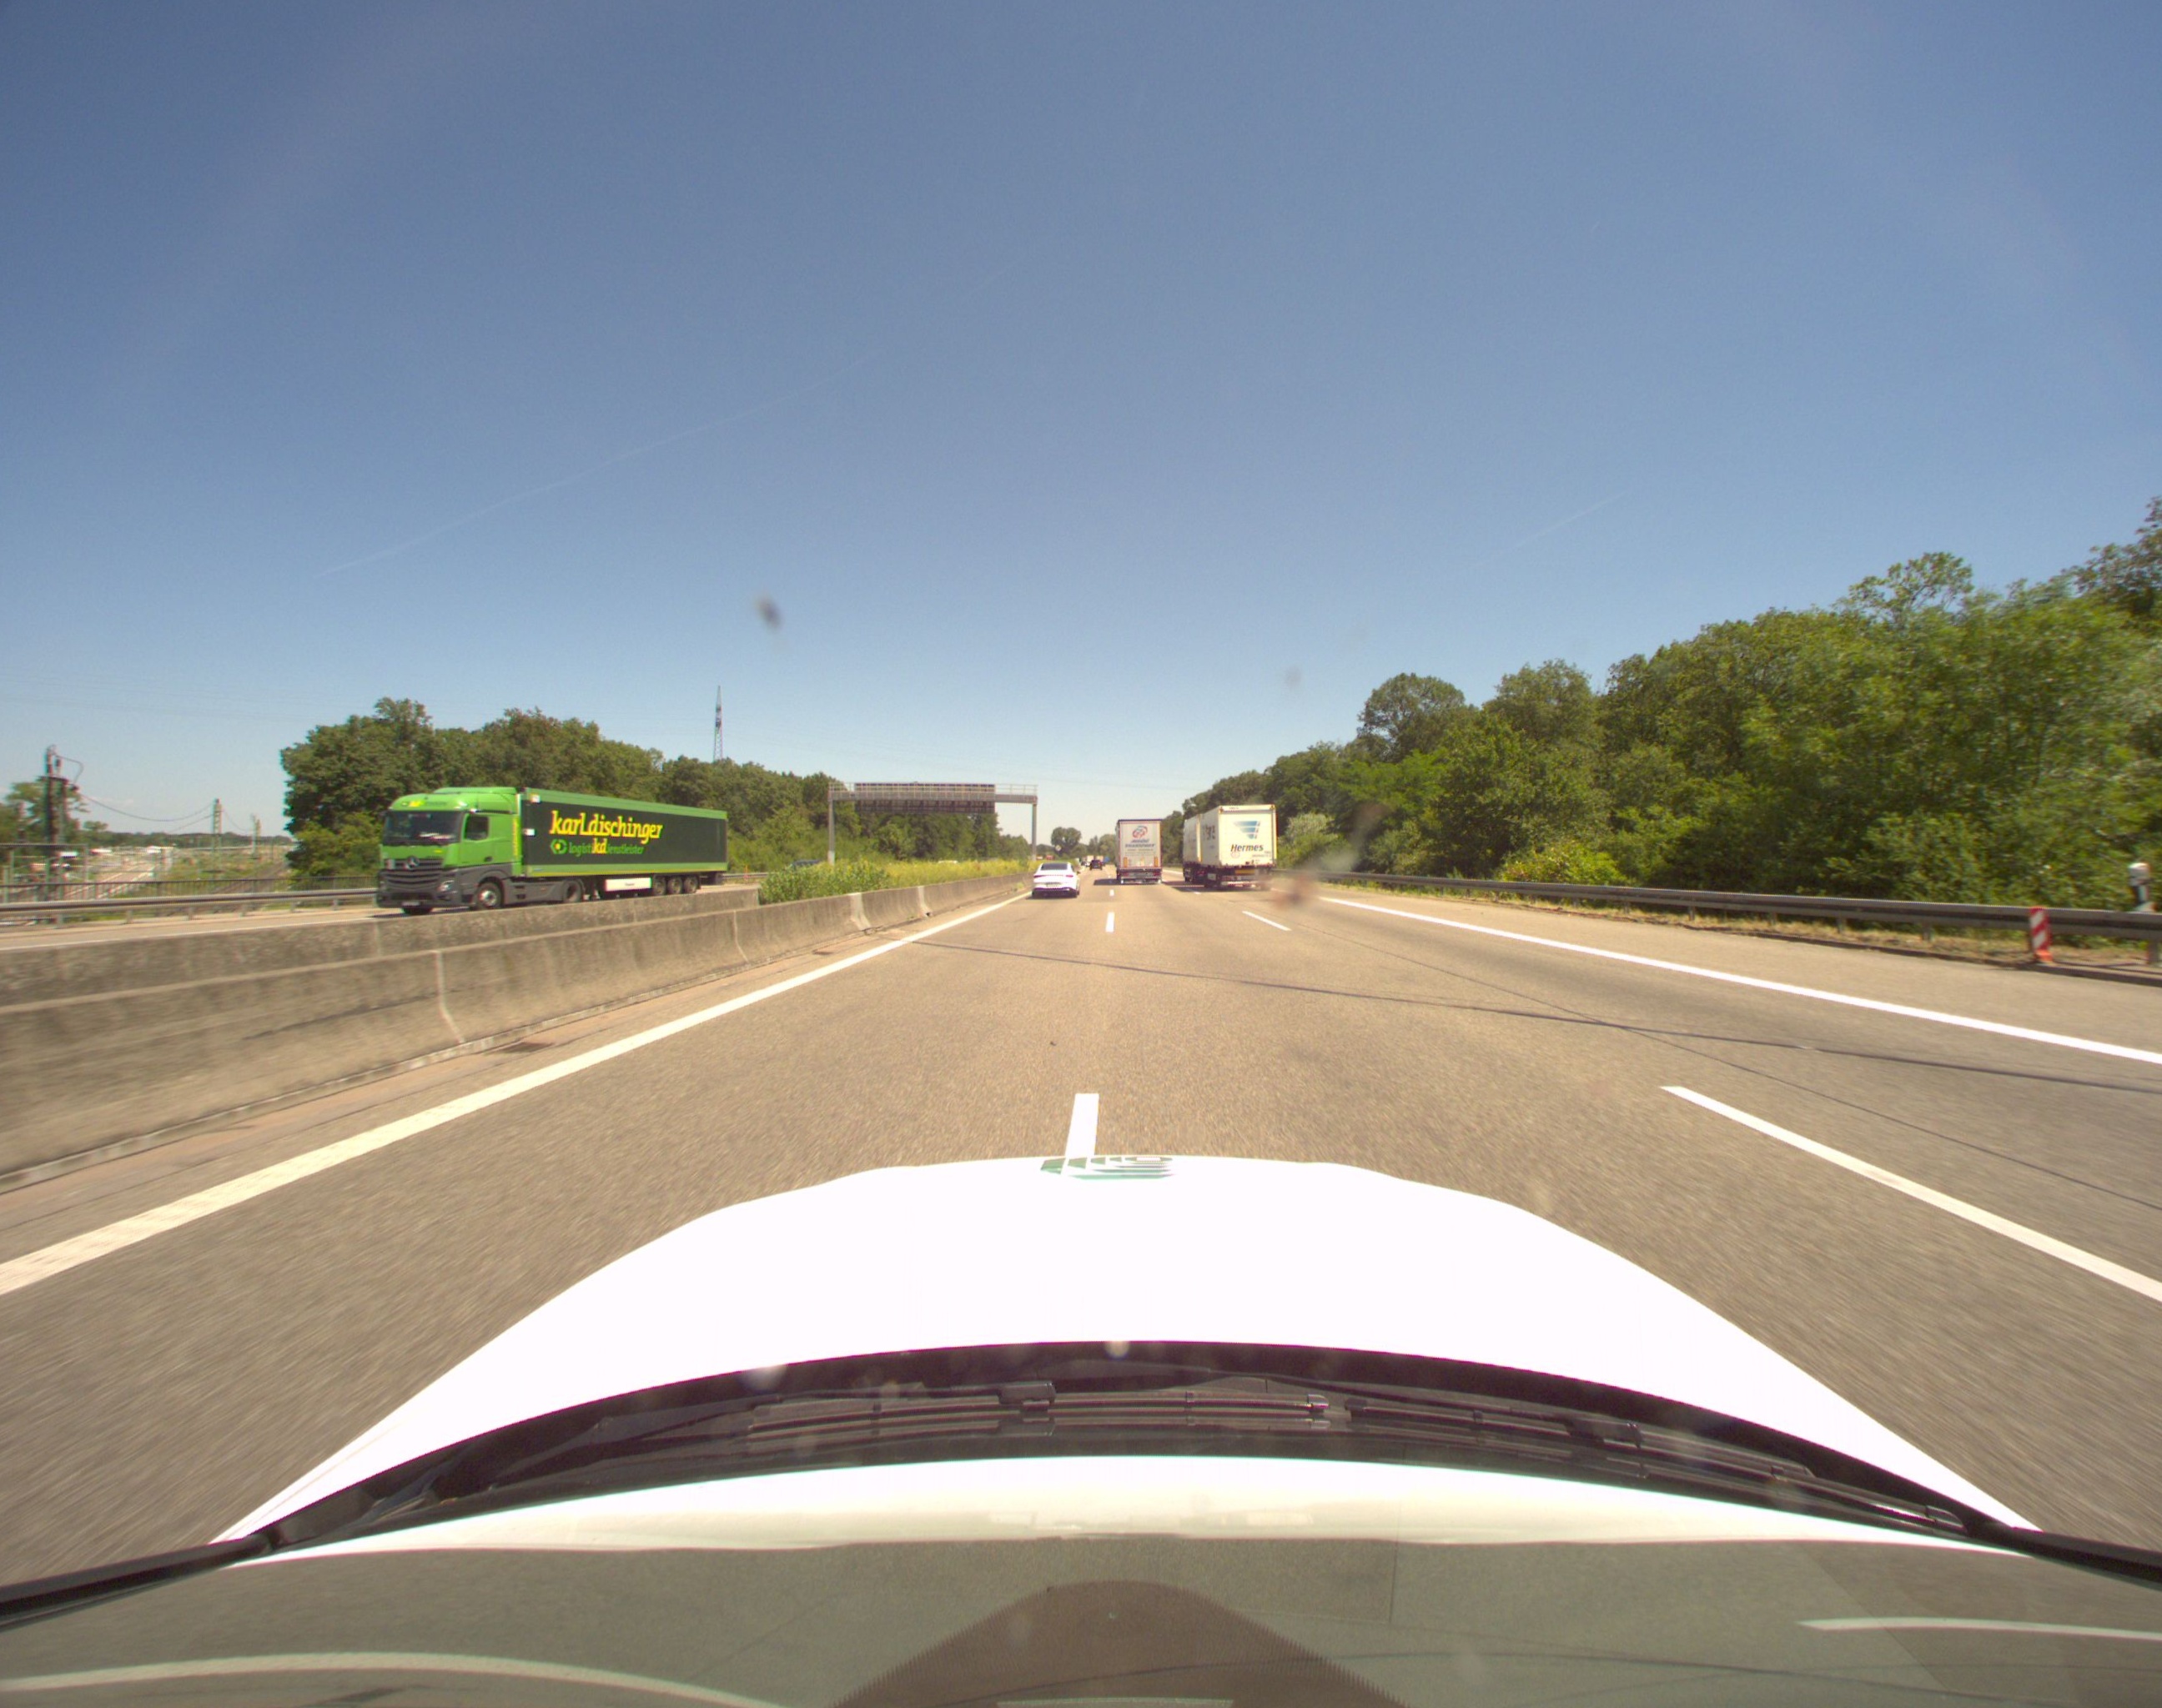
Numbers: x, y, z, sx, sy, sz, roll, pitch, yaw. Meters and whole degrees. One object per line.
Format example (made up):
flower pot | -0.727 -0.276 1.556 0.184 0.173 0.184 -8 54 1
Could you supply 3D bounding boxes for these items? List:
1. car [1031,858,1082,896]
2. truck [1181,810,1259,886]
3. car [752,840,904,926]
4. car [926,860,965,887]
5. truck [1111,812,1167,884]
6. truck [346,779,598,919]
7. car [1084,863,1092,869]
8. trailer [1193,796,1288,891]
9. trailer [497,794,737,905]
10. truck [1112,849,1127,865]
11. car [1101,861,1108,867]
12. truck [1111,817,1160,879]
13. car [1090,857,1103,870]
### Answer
car | -0.973 0.924 34.511 1.760 1.448 5.111 -1 0 2
truck | 8.079 -0.373 48.946 3.312 4.052 10.962 -1 0 3
car | -6.554 0.701 21.786 2.281 2.013 4.716 -1 0 4
car | -9.438 1.332 57.014 1.986 1.840 4.075 -1 -1 1
truck | 3.582 -0.353 51.844 3.216 4.202 8.471 0 0 2
truck | -19.216 -0.136 26.342 2.909 3.941 6.505 -1 0 4
car | 1.871 3.061 214.141 1.986 1.596 4.001 -1 -1 1
trailer | 7.596 -0.410 40.190 3.353 4.143 9.098 -1 -1 3
trailer | -18.794 -0.134 34.519 2.912 3.862 11.874 -1 0 3
truck | 9.476 0.770 201.658 3.433 3.989 9.515 -1 -1 1
car | 6.712 2.938 237.559 1.986 1.596 4.001 -1 -1 1
truck | 3.829 -0.363 59.037 3.206 4.205 6.552 -1 -1 1
car | 2.489 1.520 128.279 1.986 1.874 4.002 0 1 1
